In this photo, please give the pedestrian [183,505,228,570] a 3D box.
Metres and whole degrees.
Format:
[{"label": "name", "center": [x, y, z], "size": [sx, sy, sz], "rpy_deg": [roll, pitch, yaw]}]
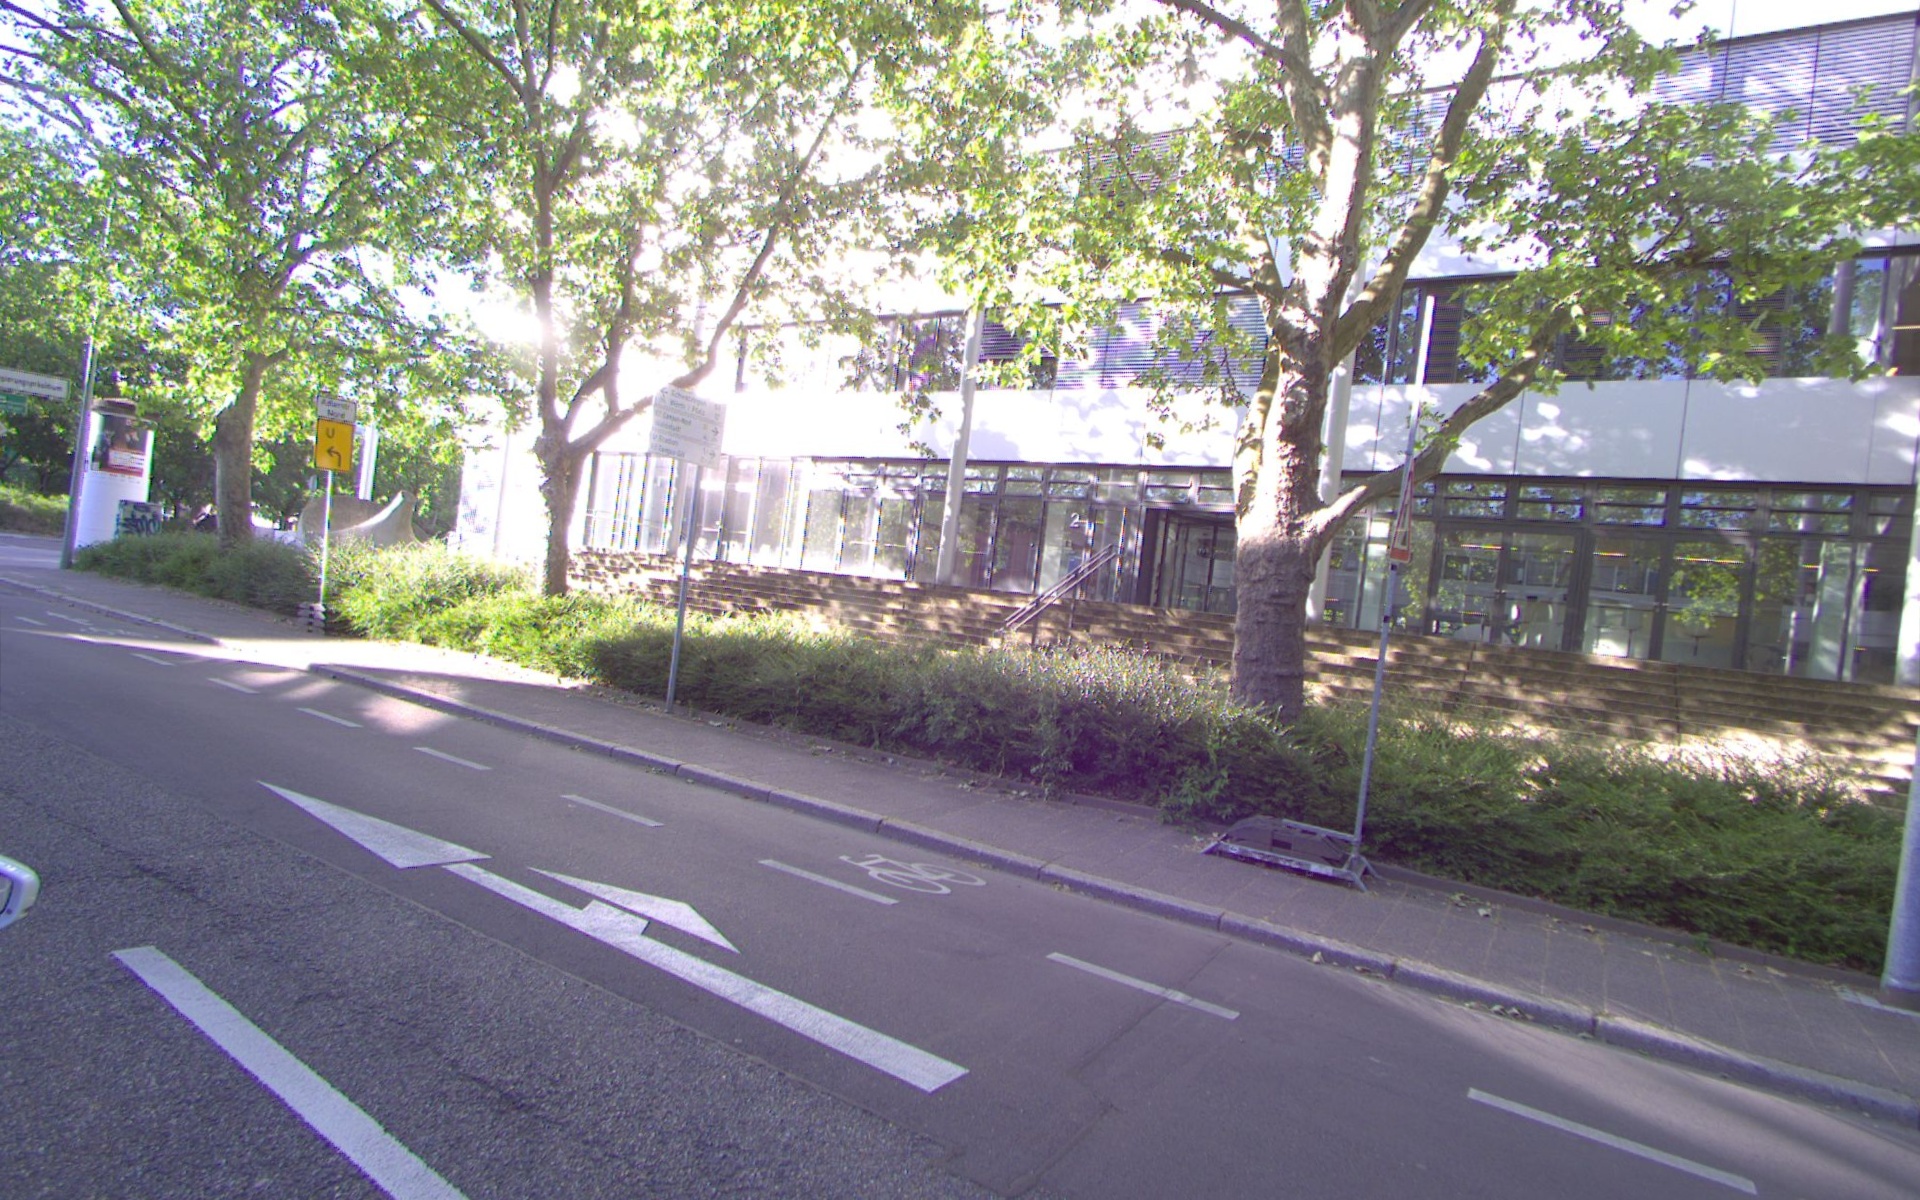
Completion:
[{"label": "pedestrian", "center": [-22.235, -1.846, 29.650], "size": [0.719, 1.799, 0.735], "rpy_deg": [6, -1, 40]}]
